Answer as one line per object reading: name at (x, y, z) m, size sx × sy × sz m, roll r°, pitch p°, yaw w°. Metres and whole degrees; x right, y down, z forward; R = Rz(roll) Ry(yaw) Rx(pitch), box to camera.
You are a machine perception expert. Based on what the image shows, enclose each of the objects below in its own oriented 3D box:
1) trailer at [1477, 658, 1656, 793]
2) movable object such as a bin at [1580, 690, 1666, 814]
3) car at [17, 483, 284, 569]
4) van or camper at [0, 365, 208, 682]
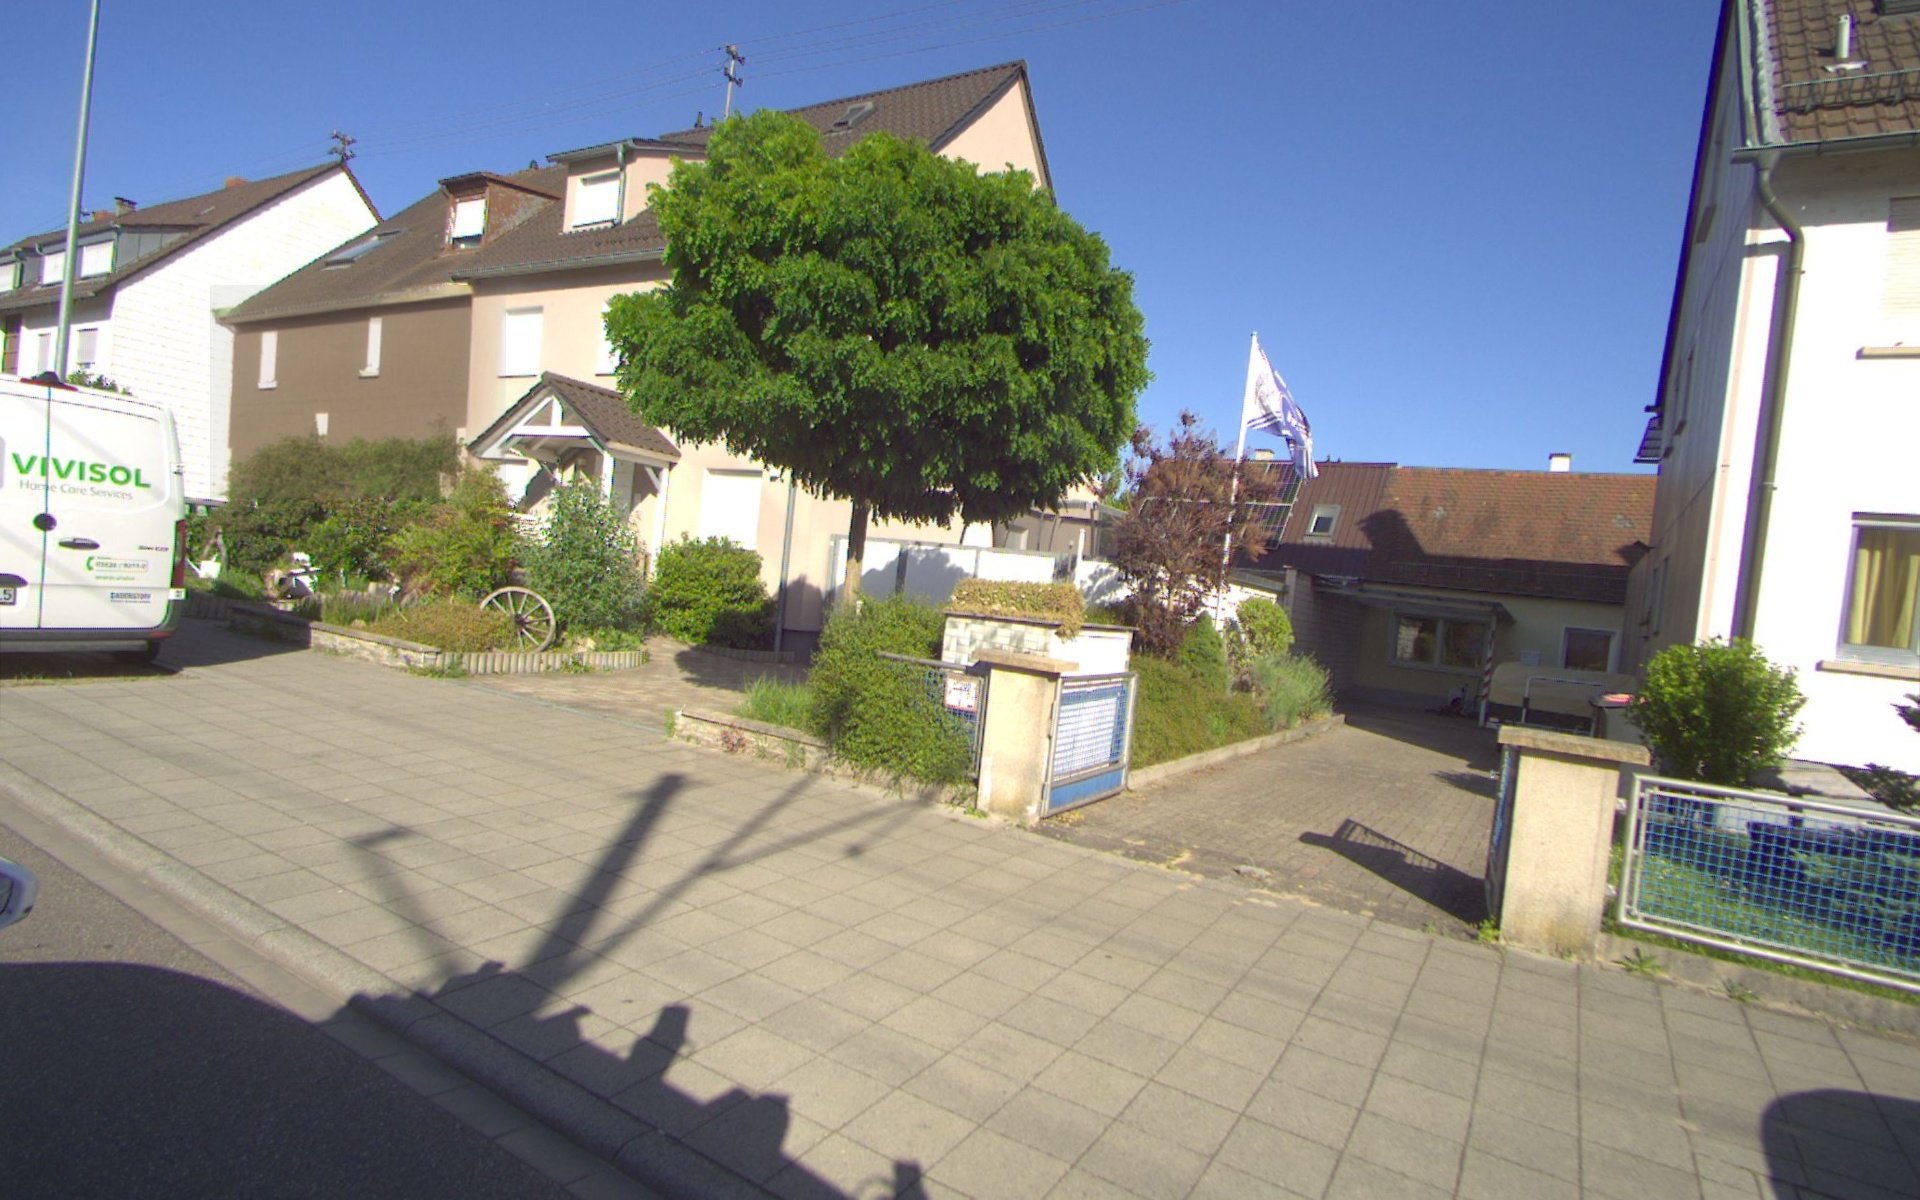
trailer at (7.710, 1.483, 12.956) m, size 1.606 × 1.205 × 3.745 m, roll 7°, pitch 1°, yaw 30°
movable object such as a bin at (6.621, 1.484, 10.082) m, size 0.568 × 1.074 × 1.060 m, roll 7°, pitch 1°, yaw 31°
car at (-19.772, -1.763, 24.820) m, size 1.875 × 1.496 × 4.717 m, roll 6°, pitch 0°, yaw 29°
van or camper at (-9.472, -0.819, 9.177) m, size 6.200 × 2.301 × 1.994 m, roll 6°, pitch 2°, yaw 32°
